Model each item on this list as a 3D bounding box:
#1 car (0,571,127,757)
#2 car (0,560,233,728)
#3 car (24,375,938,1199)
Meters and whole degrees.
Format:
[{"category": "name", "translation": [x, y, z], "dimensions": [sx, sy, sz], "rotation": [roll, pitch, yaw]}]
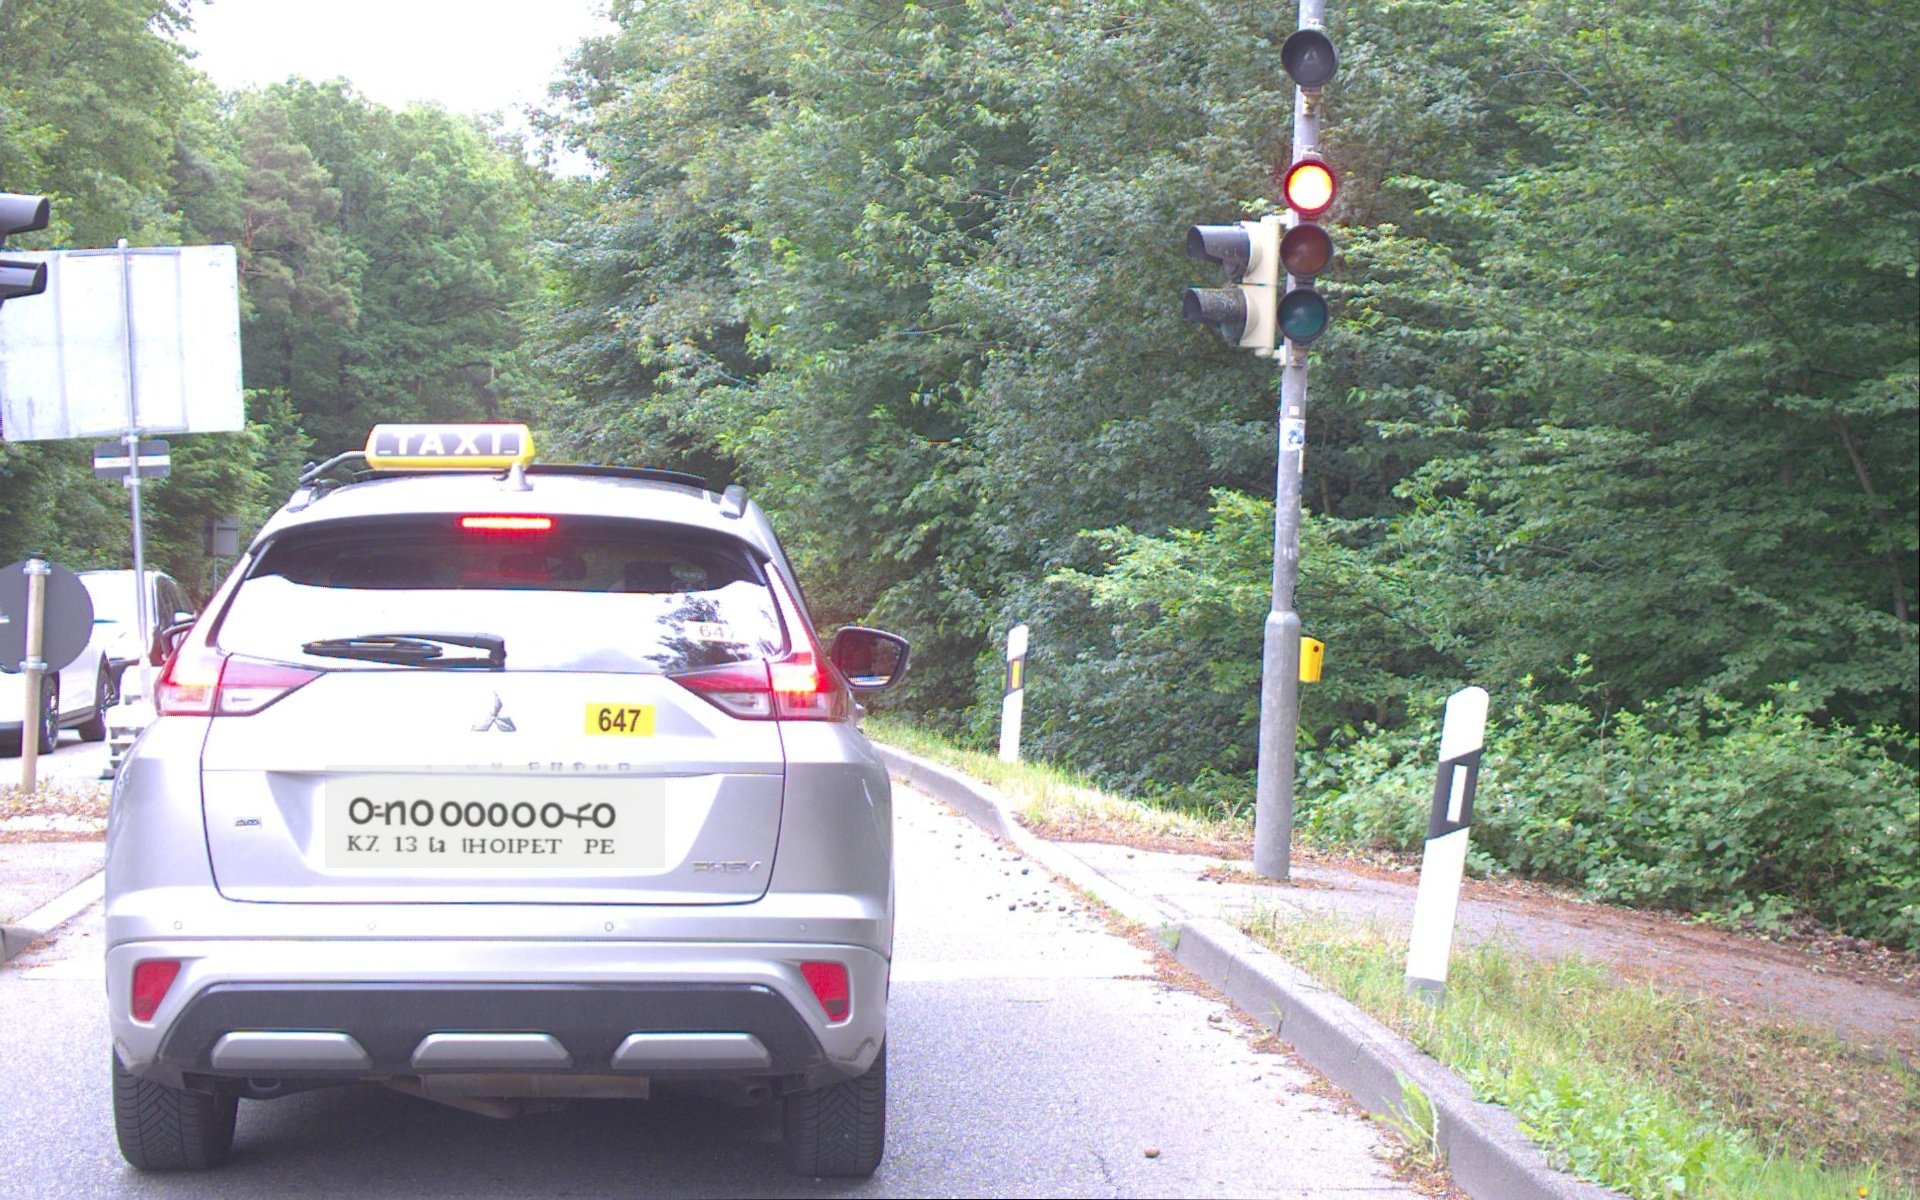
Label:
[{"category": "car", "translation": [-7.853, 0.485, 27.491], "dimensions": [1.612, 1.317, 3.722], "rotation": [-2, 2, -3]}, {"category": "car", "translation": [-8.318, 0.392, 33.513], "dimensions": [1.811, 1.503, 3.722], "rotation": [-2, 0, -3]}, {"category": "car", "translation": [-1.194, 0.415, 9.136], "dimensions": [1.846, 1.774, 4.001], "rotation": [1, 1, -6]}]
